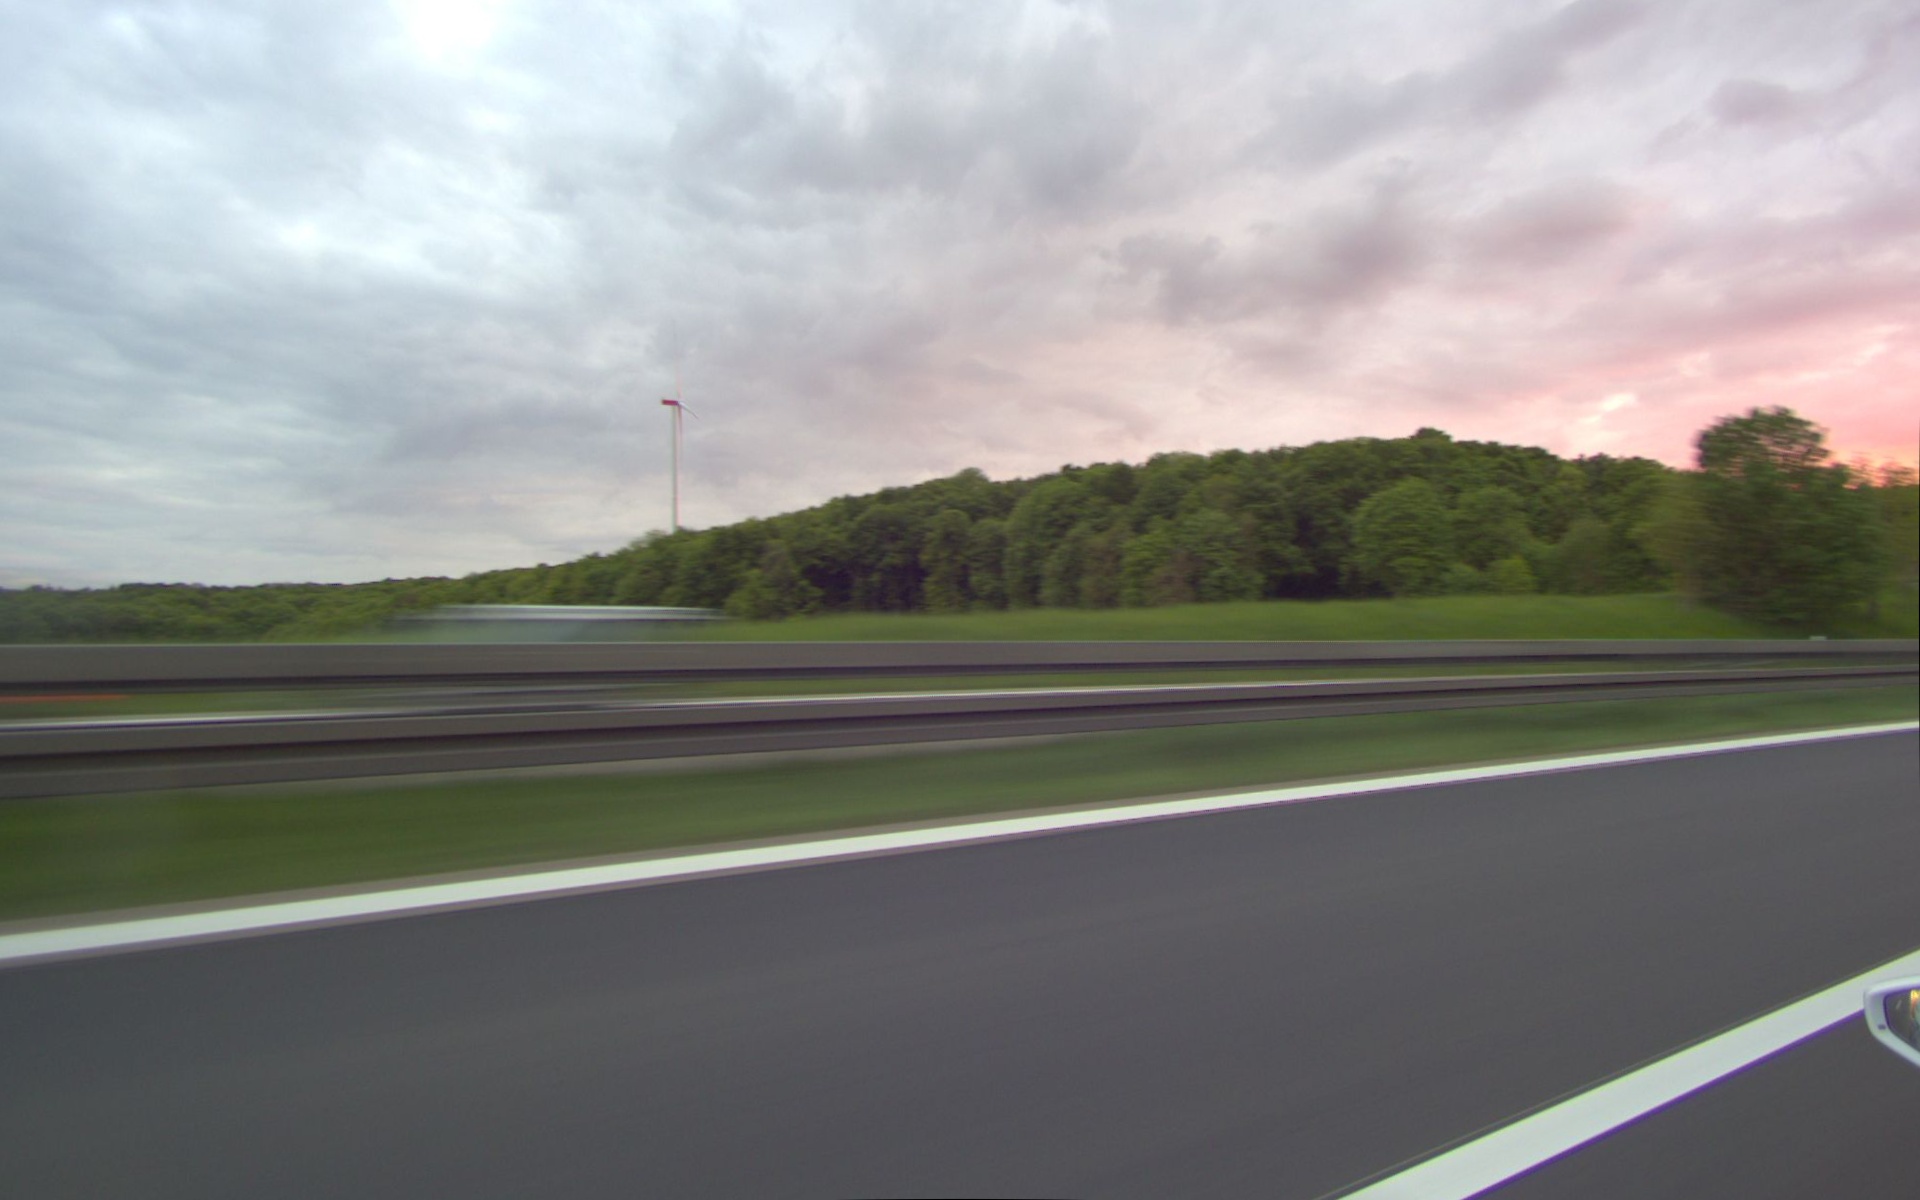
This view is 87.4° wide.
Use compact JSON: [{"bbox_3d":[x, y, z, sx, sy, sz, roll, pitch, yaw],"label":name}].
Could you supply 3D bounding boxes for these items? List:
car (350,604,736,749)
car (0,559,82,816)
[{"bbox_3d":[-5.644,0.957,13.778,4.619,1.681,2.014,1,-2,-32],"label":"car"},{"bbox_3d":[-9.705,0.606,6.987,5.075,1.897,2.091,1,-2,-32],"label":"car"}]
